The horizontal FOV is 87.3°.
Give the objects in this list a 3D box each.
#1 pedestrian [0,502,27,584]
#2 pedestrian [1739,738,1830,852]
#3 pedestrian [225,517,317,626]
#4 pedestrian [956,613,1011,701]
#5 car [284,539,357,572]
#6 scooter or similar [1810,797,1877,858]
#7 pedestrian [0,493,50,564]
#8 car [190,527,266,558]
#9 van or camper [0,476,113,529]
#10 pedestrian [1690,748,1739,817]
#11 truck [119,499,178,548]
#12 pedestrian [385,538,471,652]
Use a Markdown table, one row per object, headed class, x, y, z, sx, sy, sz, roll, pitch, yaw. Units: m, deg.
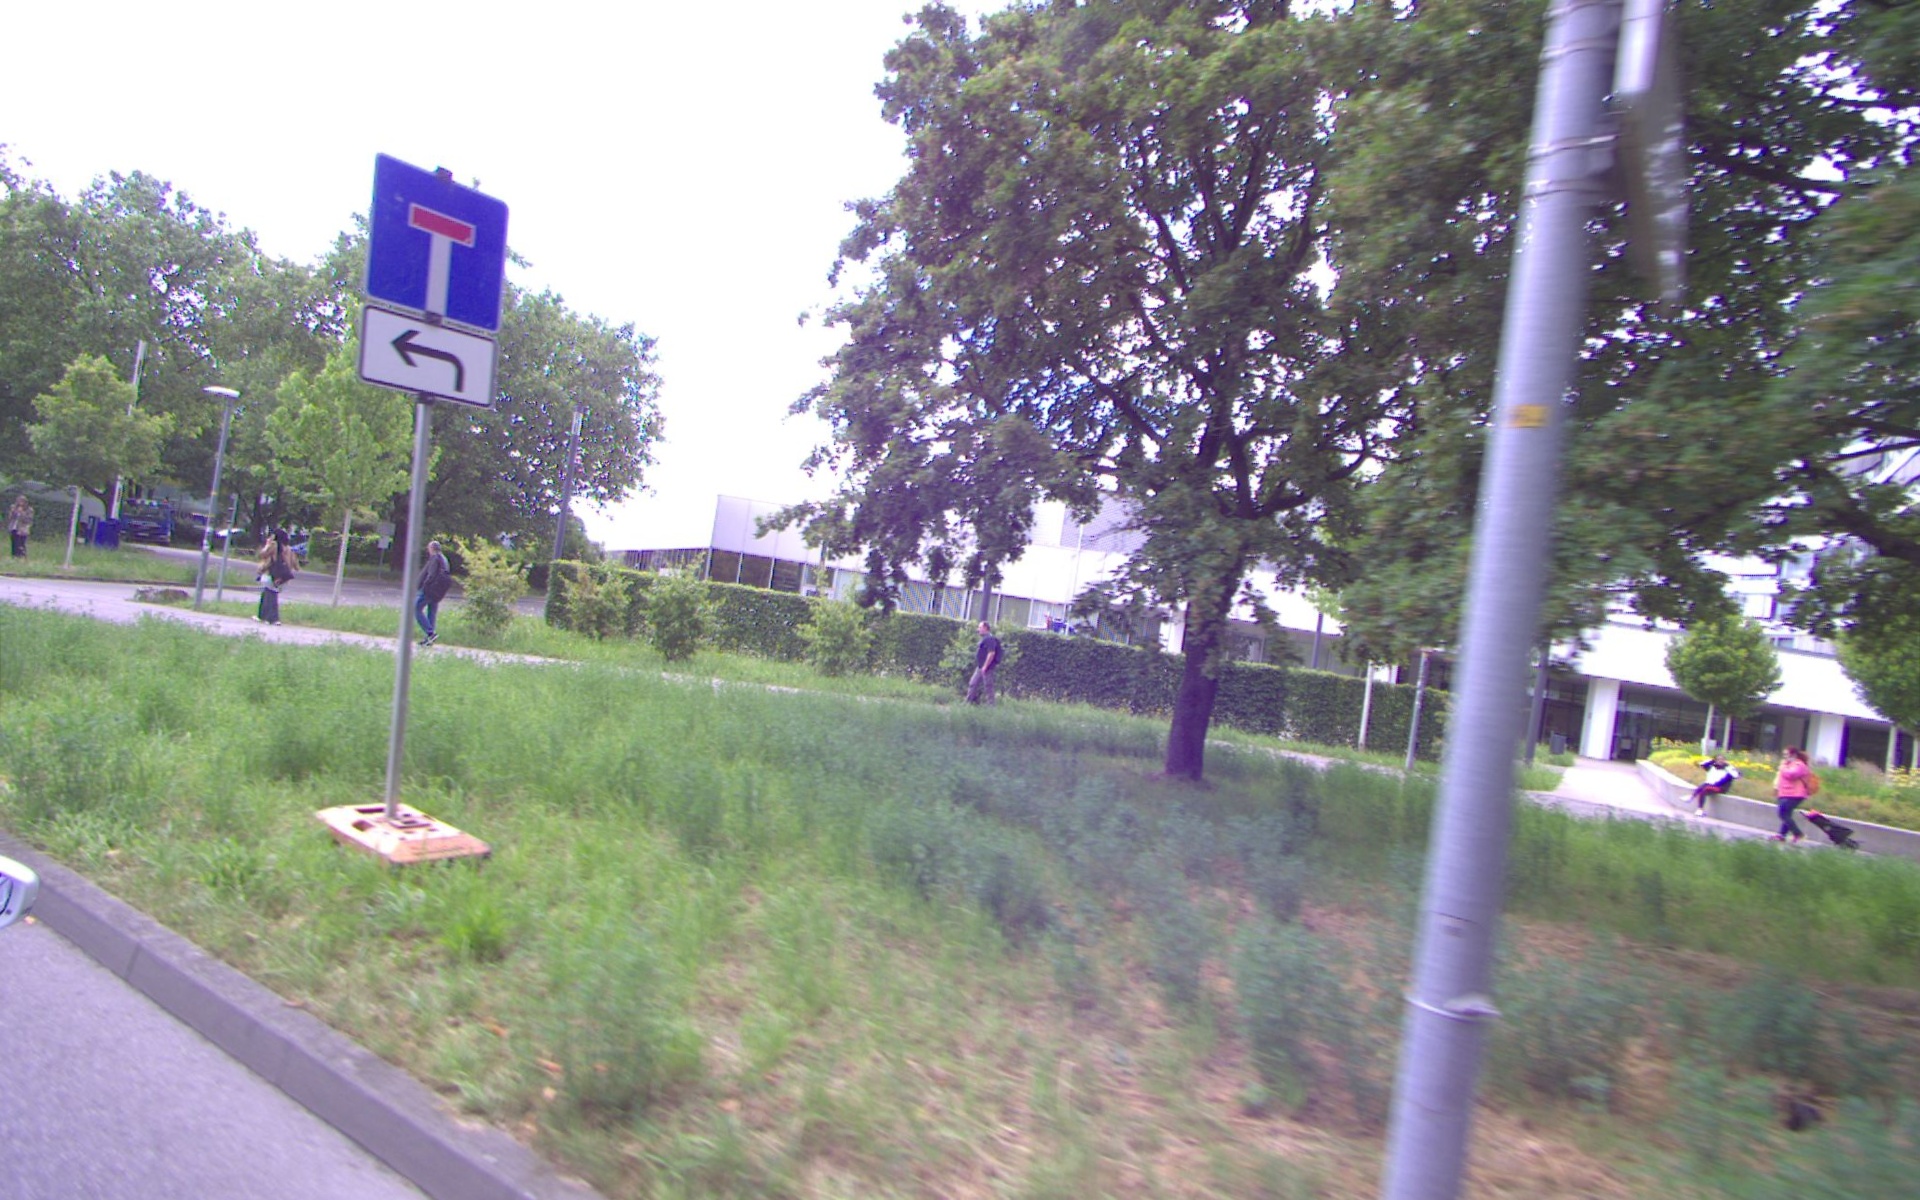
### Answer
| class | x | y | z | sx | sy | sz | roll | pitch | yaw |
| --- | --- | --- | --- | --- | --- | --- | --- | --- | --- |
| pedestrian | -19.874 | -1.216 | 20.507 | 0.807 | 1.615 | 0.777 | 9 | 0 | 10 |
| pedestrian | 13.357 | 3.137 | 16.336 | 0.916 | 1.625 | 0.954 | 7 | -2 | 35 |
| pedestrian | -11.985 | -0.479 | 17.516 | 0.807 | 1.743 | 0.777 | 9 | 0 | 14 |
| pedestrian | 0.417 | 1.025 | 18.314 | 0.686 | 1.468 | 0.834 | 9 | -1 | -5 |
| car | -42.422 | -2.946 | 66.740 | 3.901 | 1.518 | 1.754 | 9 | 0 | -35 |
| scooter or similar | 14.031 | 3.604 | 15.988 | 0.662 | 0.791 | 0.634 | 6 | -2 | 35 |
| pedestrian | -24.498 | -1.860 | 26.247 | 0.768 | 1.714 | 0.817 | 9 | 0 | -28 |
| car | -52.457 | -4.110 | 72.192 | 1.742 | 1.518 | 3.929 | 9 | -1 | 31 |
| van or camper | -46.863 | -4.997 | 51.694 | 4.639 | 1.937 | 1.757 | 9 | 0 | -30 |
| pedestrian | 14.302 | 3.454 | 19.073 | 0.597 | 1.174 | 0.646 | 7 | -2 | 41 |
| truck | -47.471 | -4.521 | 58.841 | 2.319 | 2.322 | 5.828 | 10 | -2 | -40 |
| pedestrian | -8.881 | -0.079 | 16.809 | 0.810 | 1.743 | 0.775 | 9 | 0 | 35 |
